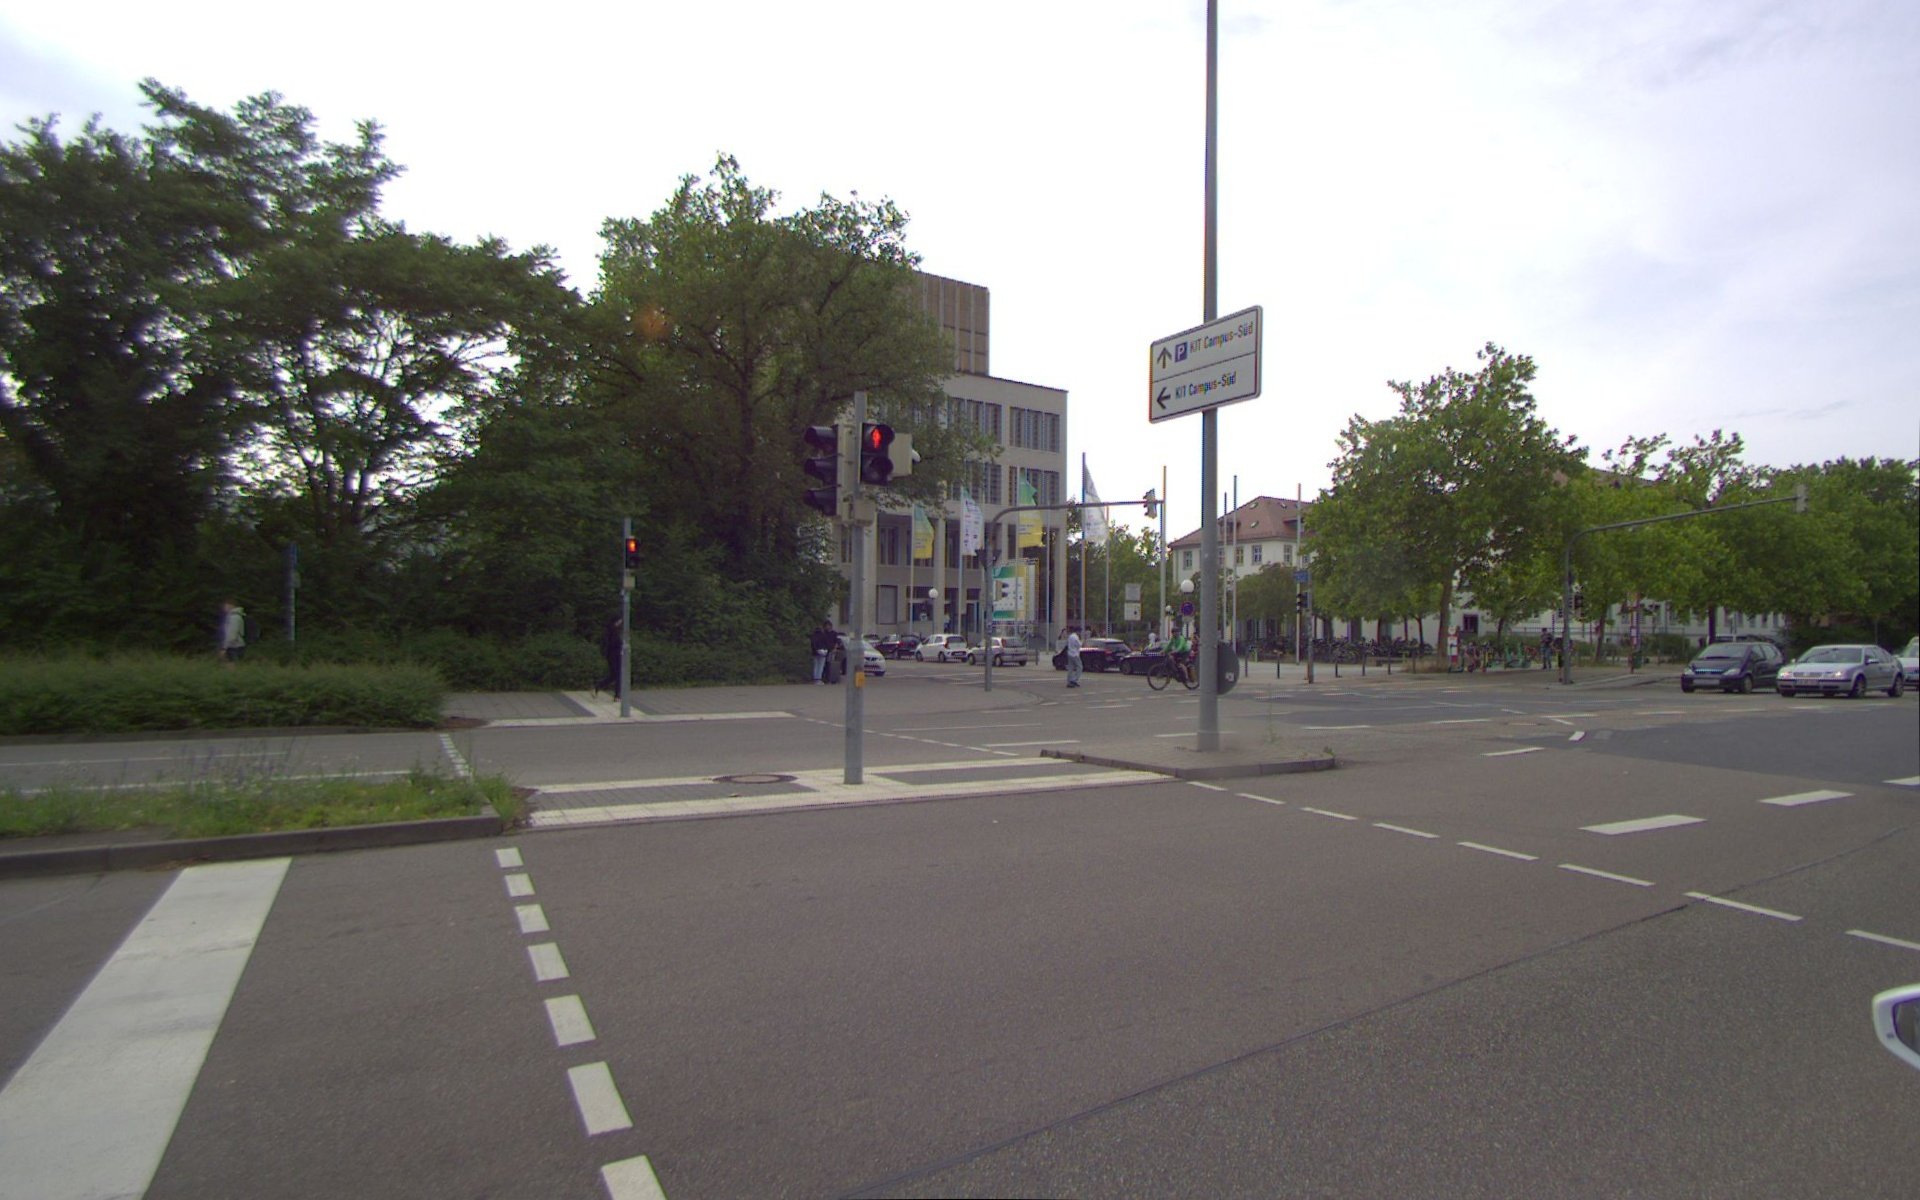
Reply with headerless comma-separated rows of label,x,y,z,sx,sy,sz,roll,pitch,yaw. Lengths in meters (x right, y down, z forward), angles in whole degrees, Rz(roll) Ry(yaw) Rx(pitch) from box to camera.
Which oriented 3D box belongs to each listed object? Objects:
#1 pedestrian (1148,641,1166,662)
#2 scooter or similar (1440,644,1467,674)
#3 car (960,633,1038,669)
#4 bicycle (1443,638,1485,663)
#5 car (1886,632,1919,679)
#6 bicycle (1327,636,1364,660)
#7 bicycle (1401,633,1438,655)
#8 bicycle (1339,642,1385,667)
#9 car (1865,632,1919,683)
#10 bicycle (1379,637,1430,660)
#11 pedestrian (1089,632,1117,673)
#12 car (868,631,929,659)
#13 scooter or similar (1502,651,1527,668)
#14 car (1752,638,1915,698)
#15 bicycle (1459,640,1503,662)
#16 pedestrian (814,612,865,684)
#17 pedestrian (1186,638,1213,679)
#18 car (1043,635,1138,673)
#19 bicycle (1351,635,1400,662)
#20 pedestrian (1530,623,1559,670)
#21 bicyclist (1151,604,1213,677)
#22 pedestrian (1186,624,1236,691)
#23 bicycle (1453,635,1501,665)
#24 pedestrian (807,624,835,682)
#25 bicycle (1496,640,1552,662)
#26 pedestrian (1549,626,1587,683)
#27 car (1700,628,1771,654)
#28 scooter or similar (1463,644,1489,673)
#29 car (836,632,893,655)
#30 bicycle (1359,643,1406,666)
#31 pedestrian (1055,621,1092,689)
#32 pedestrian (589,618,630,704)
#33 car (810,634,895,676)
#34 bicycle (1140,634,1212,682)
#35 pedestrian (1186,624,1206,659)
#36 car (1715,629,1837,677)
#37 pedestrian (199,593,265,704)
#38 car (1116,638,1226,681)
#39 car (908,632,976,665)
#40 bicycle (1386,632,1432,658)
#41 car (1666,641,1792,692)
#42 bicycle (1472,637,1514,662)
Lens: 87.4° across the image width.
pedestrian,13.227,3.451,67.384,0.785,1.437,0.892,1,-2,-26
scooter or similar,19.716,2.344,40.136,1.306,1.155,0.358,2,-2,-34
car,1.920,2.537,50.509,1.980,1.601,3.961,1,0,-34
bicycle,32.569,3.243,64.981,0.715,1.615,2.382,2,-2,-37
car,41.061,2.328,42.457,4.441,1.872,1.761,2,0,-33
bicycle,25.820,3.196,67.325,0.907,1.579,2.658,1,-2,-16
bicycle,33.234,3.173,72.662,0.907,1.579,2.658,1,-2,-16
bicycle,23.174,3.139,57.934,0.715,1.371,2.467,2,-2,-37
car,31.952,1.874,33.132,4.207,1.604,1.948,1,-4,-31
bicycle,26.812,2.925,60.652,0.715,1.347,2.798,2,-2,-37
pedestrian,7.213,2.623,50.531,1.006,2.040,0.997,1,-2,-34
car,-3.626,2.622,58.809,1.869,1.573,3.965,1,-2,-33
scooter or similar,25.166,2.700,45.593,1.274,0.703,0.404,2,0,-31
car,24.074,1.832,27.675,4.219,1.549,1.986,1,-2,-27
bicycle,28.032,2.737,54.060,2.005,1.168,0.718,-1,-2,39
pedestrian,-3.526,1.387,29.505,1.022,2.040,1.099,1,0,26
pedestrian,8.743,2.115,36.698,0.687,1.447,0.999,1,0,29
car,5.769,2.362,44.688,1.981,1.491,3.958,2,0,-37
bicycle,24.948,2.873,60.345,0.916,1.579,2.633,2,-2,-43
pedestrian,25.537,2.022,43.889,0.918,2.040,0.795,1,0,-40
bicyclist,6.410,1.146,29.047,1.268,2.040,1.173,1,0,-33
pedestrian,7.975,1.788,31.900,1.165,2.040,1.137,1,0,37
bicycle,28.516,2.749,55.428,0.894,1.579,2.171,2,-2,-43
pedestrian,-3.944,1.496,28.484,0.598,1.627,0.497,2,-2,-42
bicycle,32.114,2.888,57.207,0.715,1.190,2.727,2,-2,-37
pedestrian,22.219,1.974,36.707,1.000,2.040,0.888,2,-2,-36
car,53.118,2.774,68.844,1.636,1.623,3.561,1,0,-35
scooter or similar,21.058,2.382,41.014,1.306,1.155,0.358,2,-2,-34
car,-6.068,2.714,63.256,1.986,1.379,3.965,1,-2,-33
bicycle,24.769,3.183,58.905,0.715,1.286,2.517,2,-2,-37
pedestrian,3.530,1.700,31.244,0.844,2.086,0.662,3,-1,-34
pedestrian,-7.132,1.227,20.443,0.645,1.717,0.586,1,0,-31
car,-4.234,2.116,39.159,1.843,1.469,3.563,1,-1,-33
bicycle,6.321,1.670,29.271,2.287,1.351,0.601,2,0,-33
pedestrian,14.007,2.441,59.580,0.783,2.040,1.092,-1,-2,40
car,29.324,1.881,36.098,3.949,1.641,1.986,1,-2,-27
pedestrian,-13.765,0.912,19.023,0.811,2.040,0.904,1,-1,-25
car,8.497,2.373,40.770,1.981,1.491,4.112,2,0,-37
car,-1.033,2.628,54.744,1.835,1.706,3.962,2,-2,-34
bicycle,27.487,2.745,61.579,0.916,1.579,2.421,2,-2,-43
car,23.921,2.038,31.246,3.653,1.483,1.844,1,-2,-30
bicycle,35.936,3.342,67.762,0.715,1.615,2.382,2,-2,-37
